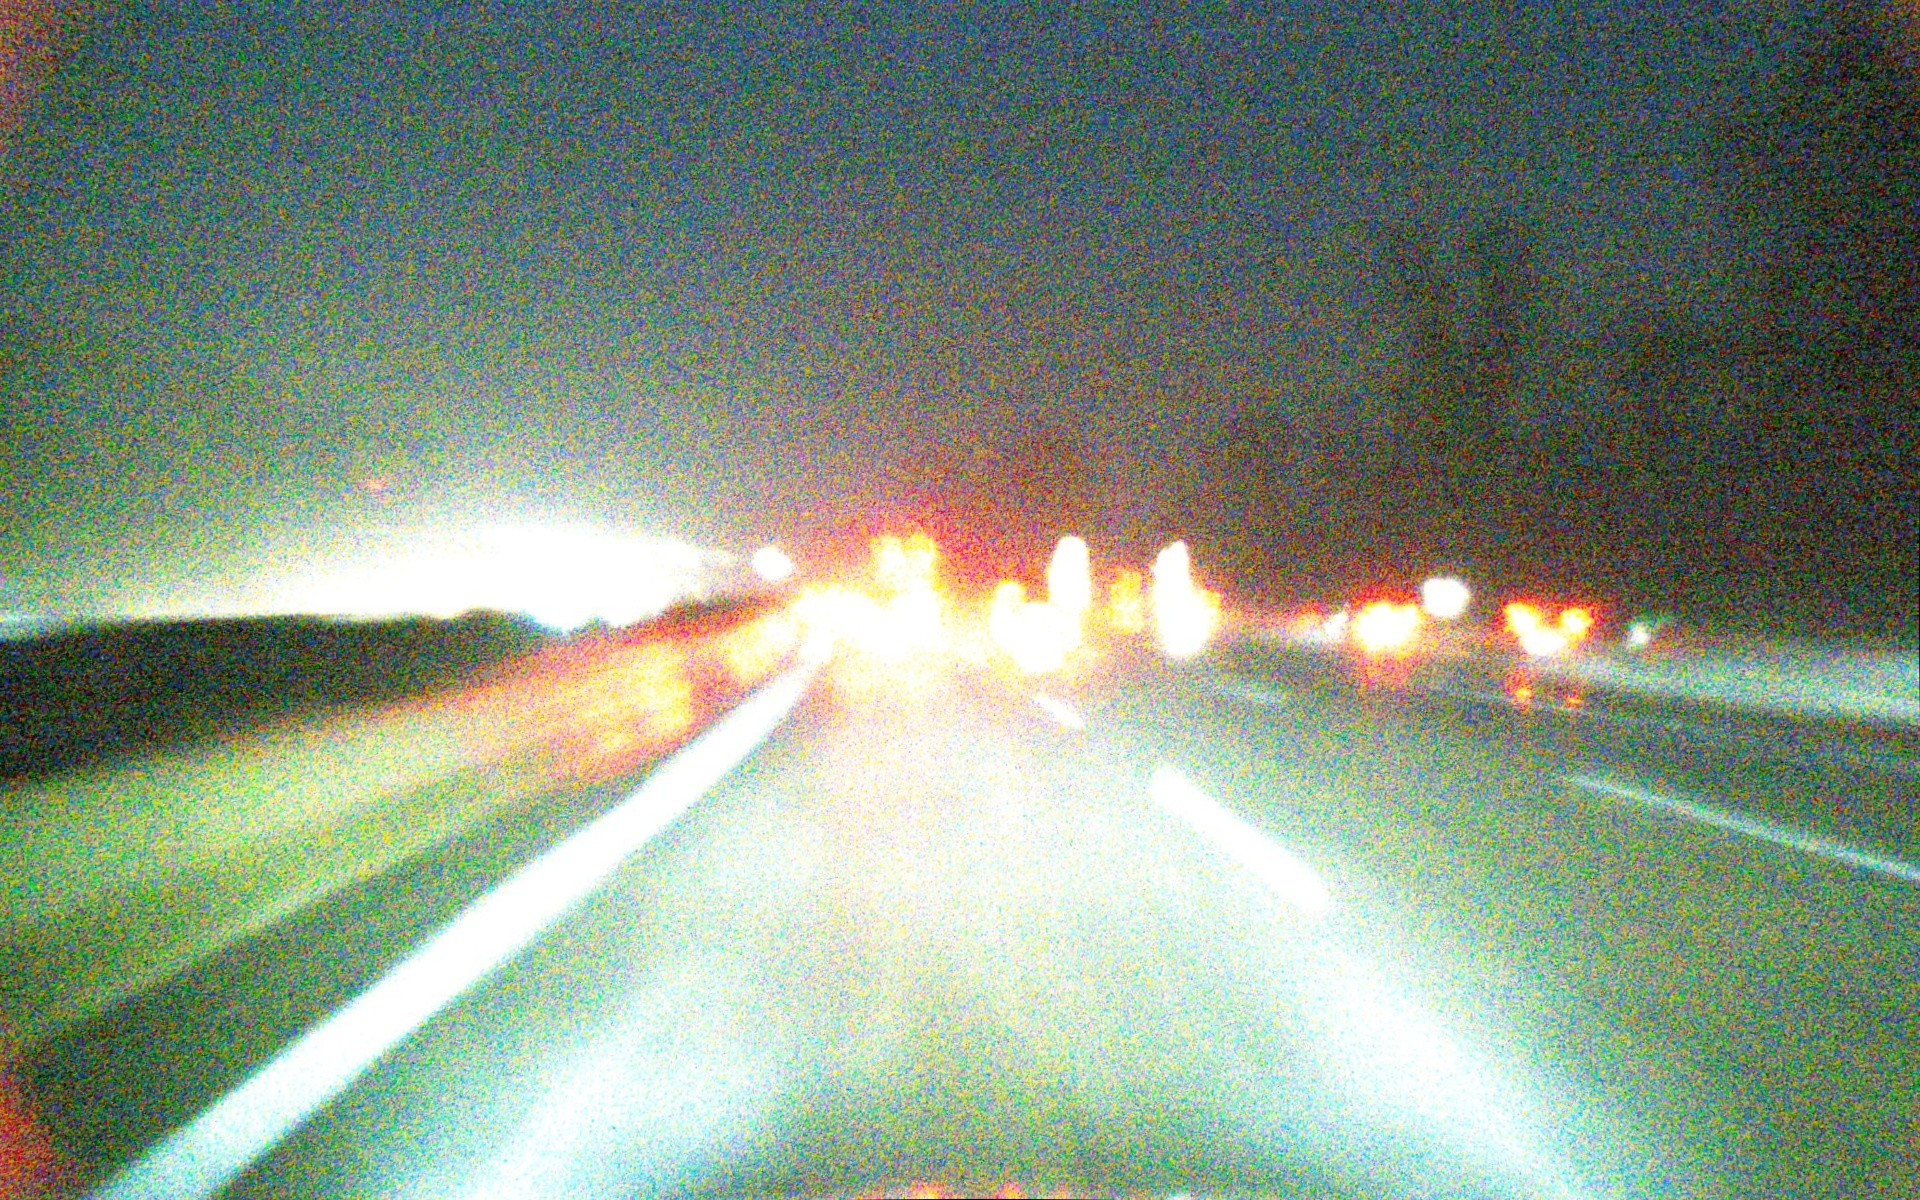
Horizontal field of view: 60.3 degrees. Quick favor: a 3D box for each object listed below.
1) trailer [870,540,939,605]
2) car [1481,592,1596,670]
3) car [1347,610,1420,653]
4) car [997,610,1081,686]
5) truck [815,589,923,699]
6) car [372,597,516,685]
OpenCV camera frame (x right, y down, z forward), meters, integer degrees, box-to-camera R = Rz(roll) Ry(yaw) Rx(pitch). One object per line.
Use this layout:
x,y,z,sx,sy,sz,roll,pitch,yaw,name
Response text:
-4.060,-2.068,117.370,2.691,4.321,13.335,0,2,-12,trailer
16.716,0.851,47.983,2.185,2.048,4.003,2,1,5,car
17.795,1.299,69.716,1.953,1.628,4.000,3,0,0,car
1.850,1.106,39.906,1.764,1.645,4.256,-1,0,-1,car
-2.069,0.879,37.192,2.103,2.113,6.599,3,0,-4,truck
-11.721,0.878,37.821,1.953,1.765,4.000,3,0,0,car
